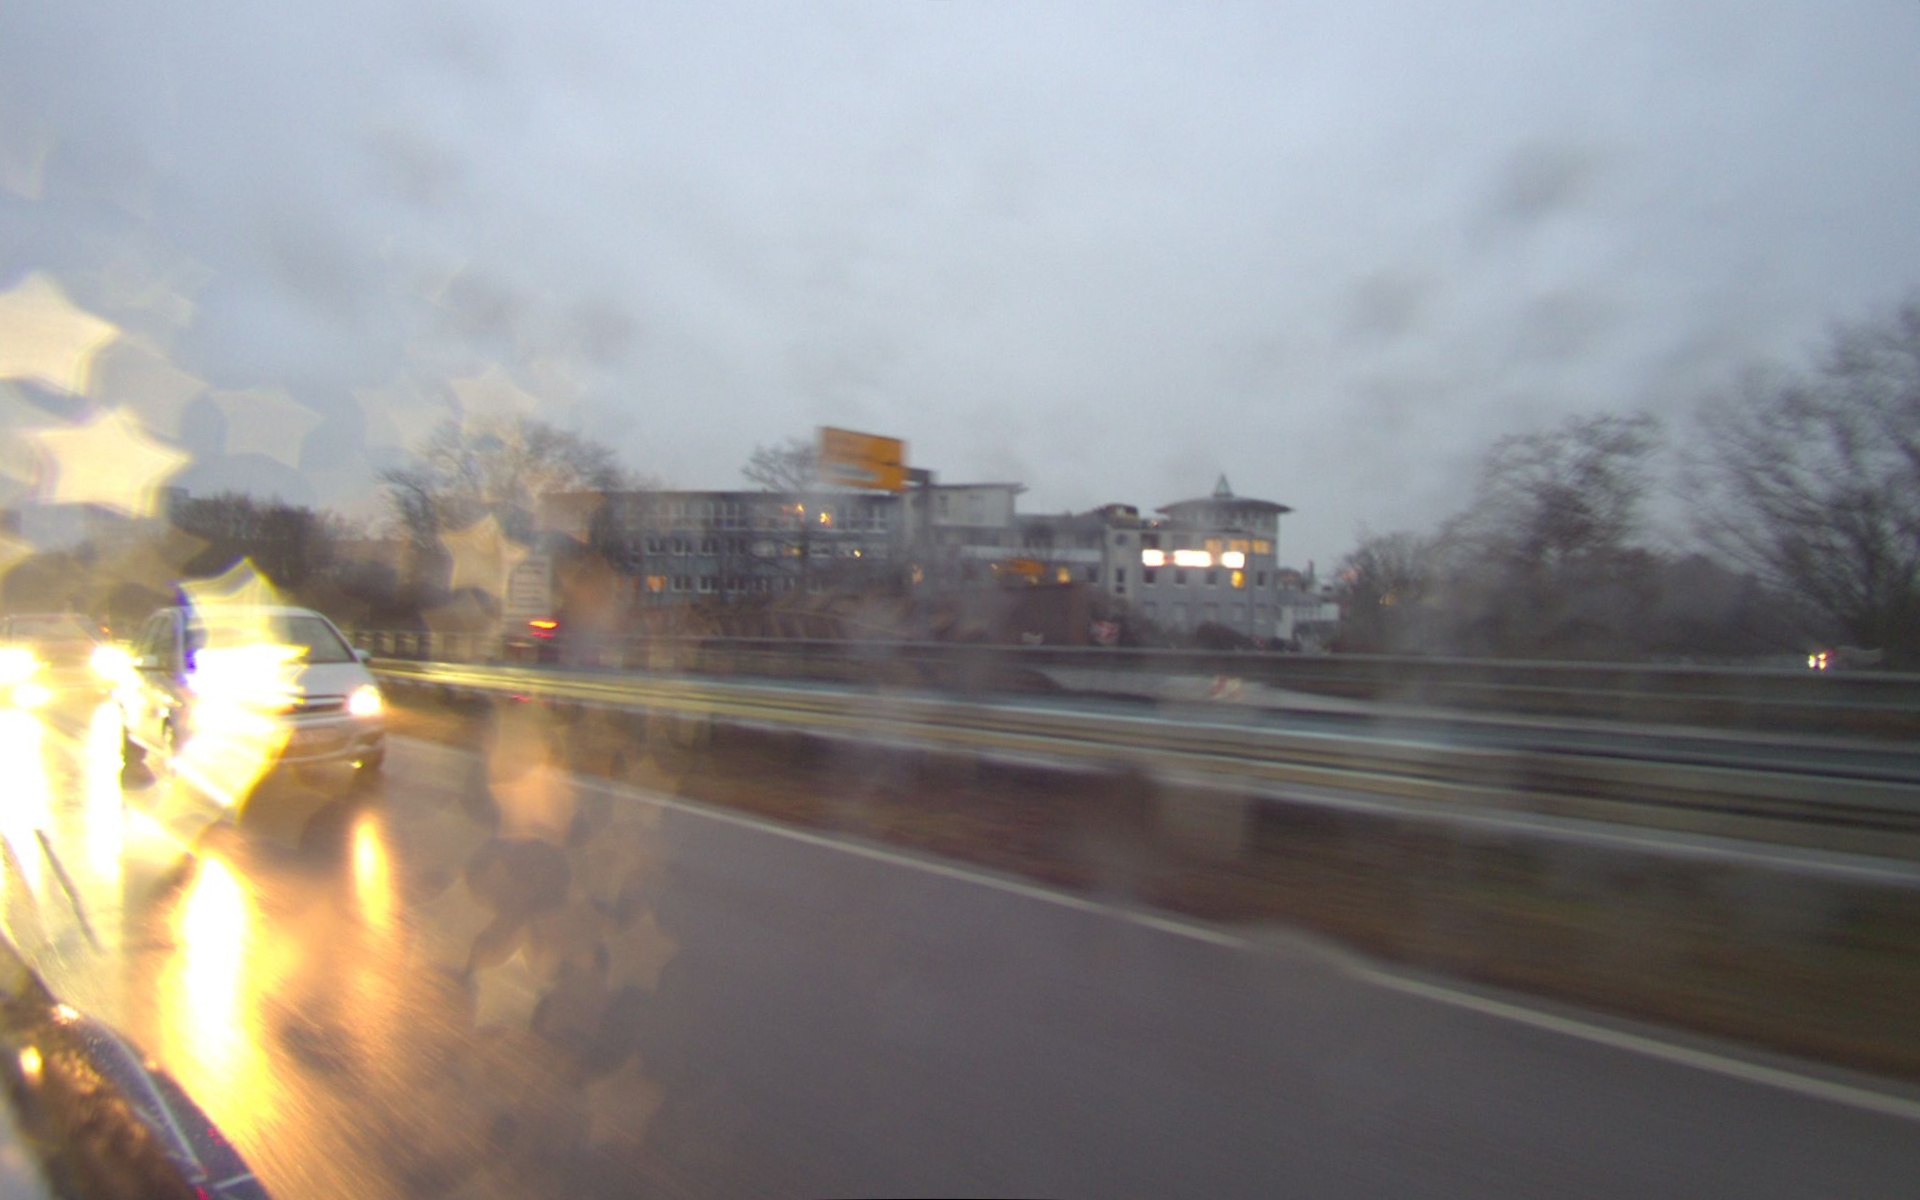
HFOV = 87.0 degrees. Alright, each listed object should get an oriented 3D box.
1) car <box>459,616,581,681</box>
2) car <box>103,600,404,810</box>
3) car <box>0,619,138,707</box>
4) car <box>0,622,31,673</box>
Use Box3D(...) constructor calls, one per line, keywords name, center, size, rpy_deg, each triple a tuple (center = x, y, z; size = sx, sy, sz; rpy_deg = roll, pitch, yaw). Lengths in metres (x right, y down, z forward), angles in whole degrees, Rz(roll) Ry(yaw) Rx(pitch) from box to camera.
Box3D(name="car", center=(-14.223, 1.509, 32.616), size=(4.285, 1.933, 1.973), rpy_deg=(-1, -1, 41))
Box3D(name="car", center=(-7.019, 0.837, 9.873), size=(1.741, 1.611, 4.168), rpy_deg=(1, -1, -44))
Box3D(name="car", center=(-17.997, 1.157, 20.063), size=(4.144, 1.542, 2.000), rpy_deg=(-1, -1, 42))
Box3D(name="car", center=(-27.787, 1.333, 28.665), size=(3.997, 1.344, 1.675), rpy_deg=(-1, 0, 40))
